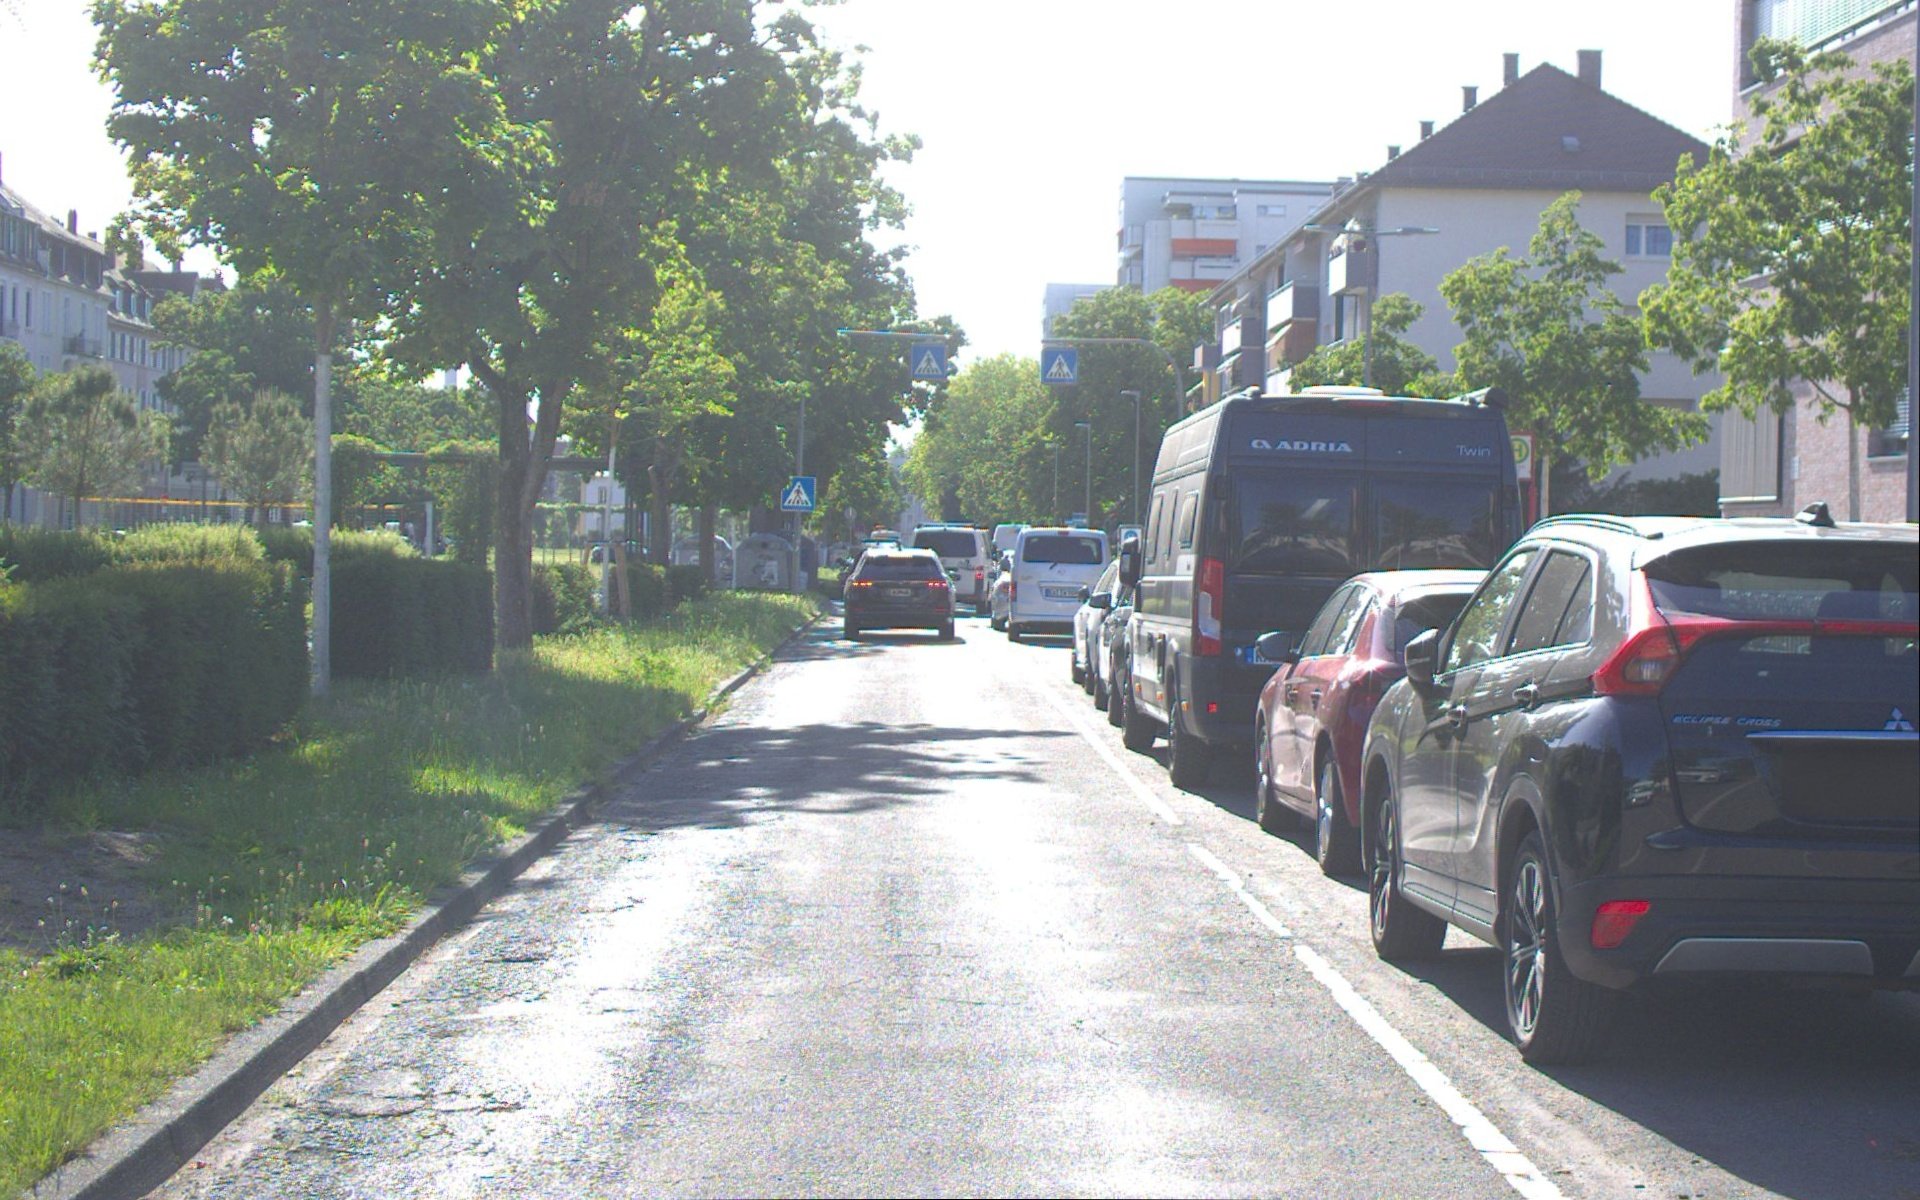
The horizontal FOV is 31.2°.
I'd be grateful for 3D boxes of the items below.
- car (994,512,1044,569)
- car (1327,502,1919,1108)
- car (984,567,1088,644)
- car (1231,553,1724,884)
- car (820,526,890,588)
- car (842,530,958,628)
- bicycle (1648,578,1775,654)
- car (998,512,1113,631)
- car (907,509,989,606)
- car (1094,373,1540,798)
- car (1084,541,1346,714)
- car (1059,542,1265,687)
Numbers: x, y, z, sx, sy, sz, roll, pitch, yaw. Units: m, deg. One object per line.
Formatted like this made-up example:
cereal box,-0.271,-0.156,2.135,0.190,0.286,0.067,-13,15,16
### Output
car,2.651,-2.710,155.711,1.993,2.422,4.500,3,1,-1
car,2.491,0.534,11.664,1.846,1.634,4.504,1,1,-2
car,1.375,0.086,63.667,1.764,1.314,4.168,3,0,0
car,2.505,0.512,17.571,1.794,1.450,3.950,1,1,-2
car,-2.903,-1.194,95.396,1.794,1.619,4.000,2,1,-1
car,-0.970,-0.367,56.448,1.794,1.505,4.000,2,1,-1
bicycle,11.373,0.240,52.047,1.794,1.104,0.500,-1,1,-3
car,1.573,-0.504,57.342,1.794,1.848,4.413,2,1,1
car,-0.287,-0.983,78.808,1.794,2.115,4.000,2,1,-1
car,2.274,-0.141,23.940,2.115,2.507,6.533,1,1,-2
car,2.244,0.194,31.436,1.993,1.415,4.636,1,1,0
car,2.103,0.108,36.987,1.794,1.415,4.658,1,1,-1
